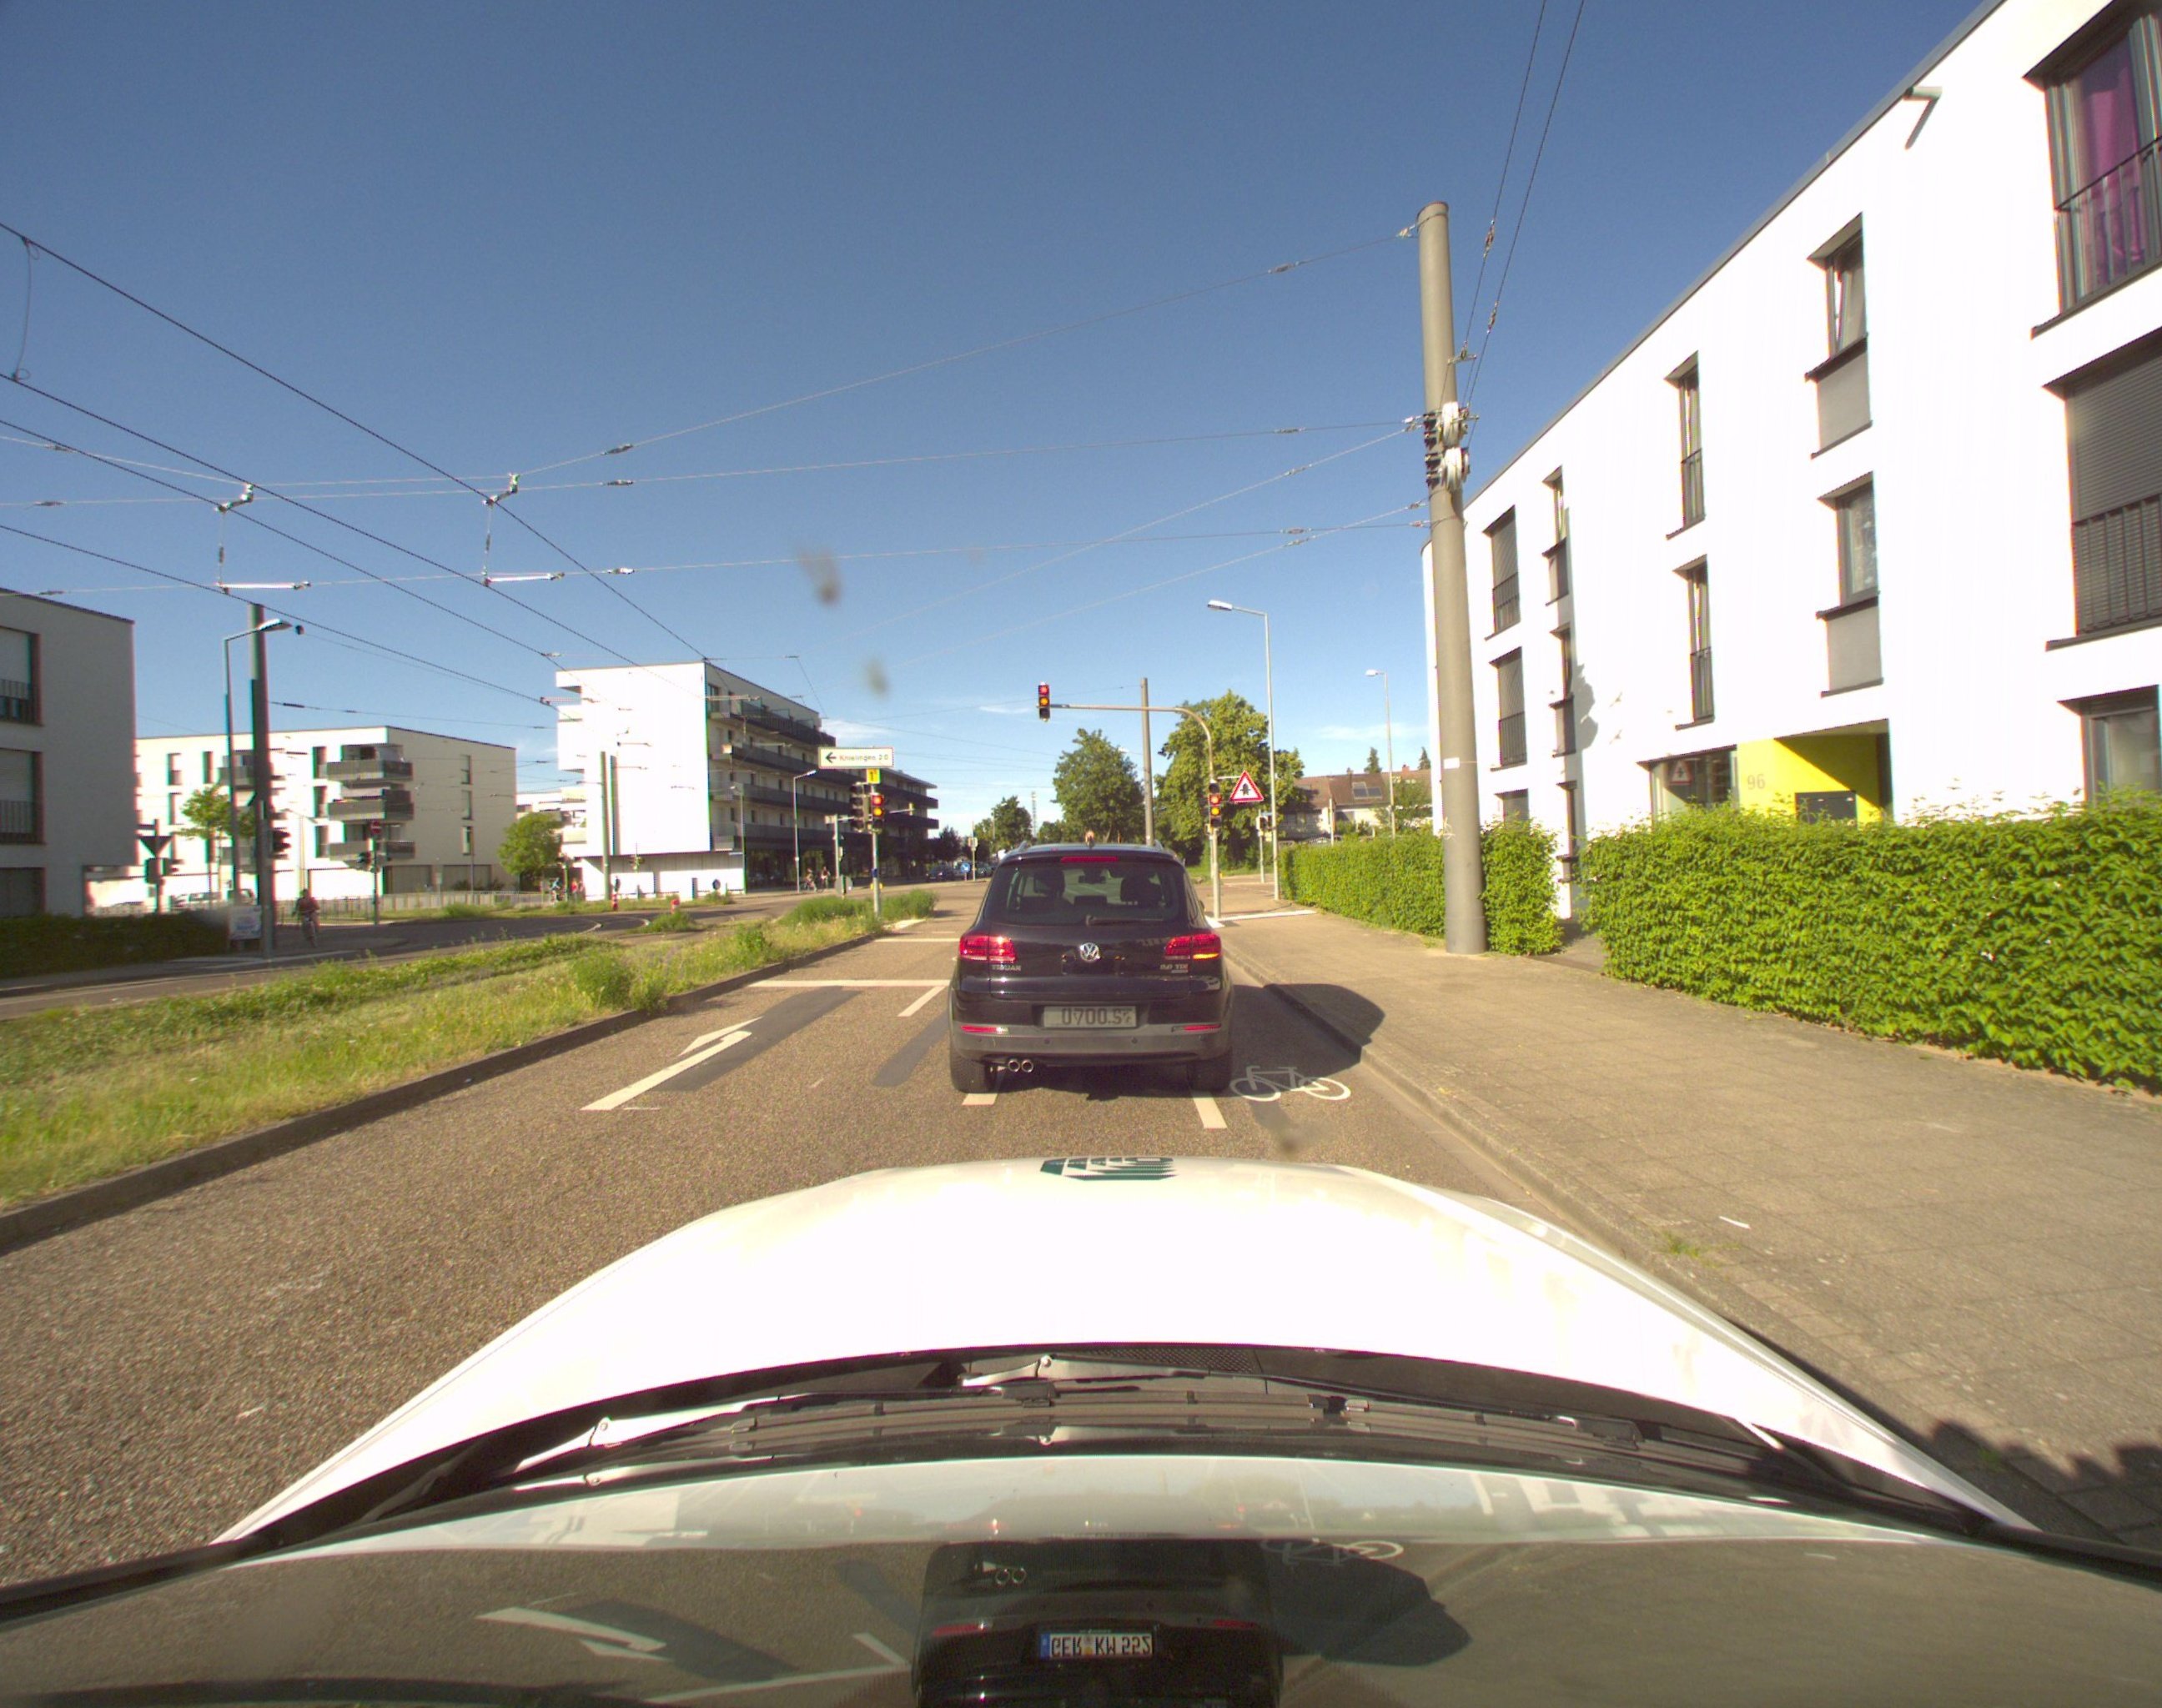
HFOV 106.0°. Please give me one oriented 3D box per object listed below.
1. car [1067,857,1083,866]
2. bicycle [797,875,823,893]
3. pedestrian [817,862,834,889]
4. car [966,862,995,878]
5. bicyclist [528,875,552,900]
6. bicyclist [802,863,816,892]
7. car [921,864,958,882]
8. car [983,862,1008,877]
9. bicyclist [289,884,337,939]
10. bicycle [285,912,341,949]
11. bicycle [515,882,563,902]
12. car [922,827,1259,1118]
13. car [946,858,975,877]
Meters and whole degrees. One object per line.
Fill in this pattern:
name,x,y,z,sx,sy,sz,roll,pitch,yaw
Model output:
car,-1.027,1.328,145.905,1.981,1.571,4.011,-3,0,10
bicycle,-19.133,2.131,57.559,1.644,1.144,0.739,-3,-1,-23
pedestrian,-19.326,1.613,61.622,0.974,2.013,0.760,-3,-1,-1
car,-10.387,1.631,84.011,1.982,1.487,3.552,-5,0,8
bicyclist,-35.865,2.213,53.990,0.886,1.592,0.916,-3,-1,11
bicyclist,-19.191,1.657,57.541,0.796,2.013,0.805,-2,-1,-23
car,-12.421,1.646,71.683,1.685,1.456,4.465,-3,0,10
car,-9.433,1.702,90.364,1.958,1.534,4.745,-3,0,4
bicyclist,-22.096,1.647,23.441,0.896,1.490,0.737,-2,-1,-38
bicycle,-22.109,2.173,23.493,0.907,0.892,2.455,-2,-1,-38
bicycle,-35.865,2.503,53.950,0.895,1.198,2.834,-3,0,11
car,0.079,0.692,6.919,1.923,1.654,4.514,0,0,0
car,-11.605,1.275,78.690,1.985,1.755,4.365,-2,0,3
